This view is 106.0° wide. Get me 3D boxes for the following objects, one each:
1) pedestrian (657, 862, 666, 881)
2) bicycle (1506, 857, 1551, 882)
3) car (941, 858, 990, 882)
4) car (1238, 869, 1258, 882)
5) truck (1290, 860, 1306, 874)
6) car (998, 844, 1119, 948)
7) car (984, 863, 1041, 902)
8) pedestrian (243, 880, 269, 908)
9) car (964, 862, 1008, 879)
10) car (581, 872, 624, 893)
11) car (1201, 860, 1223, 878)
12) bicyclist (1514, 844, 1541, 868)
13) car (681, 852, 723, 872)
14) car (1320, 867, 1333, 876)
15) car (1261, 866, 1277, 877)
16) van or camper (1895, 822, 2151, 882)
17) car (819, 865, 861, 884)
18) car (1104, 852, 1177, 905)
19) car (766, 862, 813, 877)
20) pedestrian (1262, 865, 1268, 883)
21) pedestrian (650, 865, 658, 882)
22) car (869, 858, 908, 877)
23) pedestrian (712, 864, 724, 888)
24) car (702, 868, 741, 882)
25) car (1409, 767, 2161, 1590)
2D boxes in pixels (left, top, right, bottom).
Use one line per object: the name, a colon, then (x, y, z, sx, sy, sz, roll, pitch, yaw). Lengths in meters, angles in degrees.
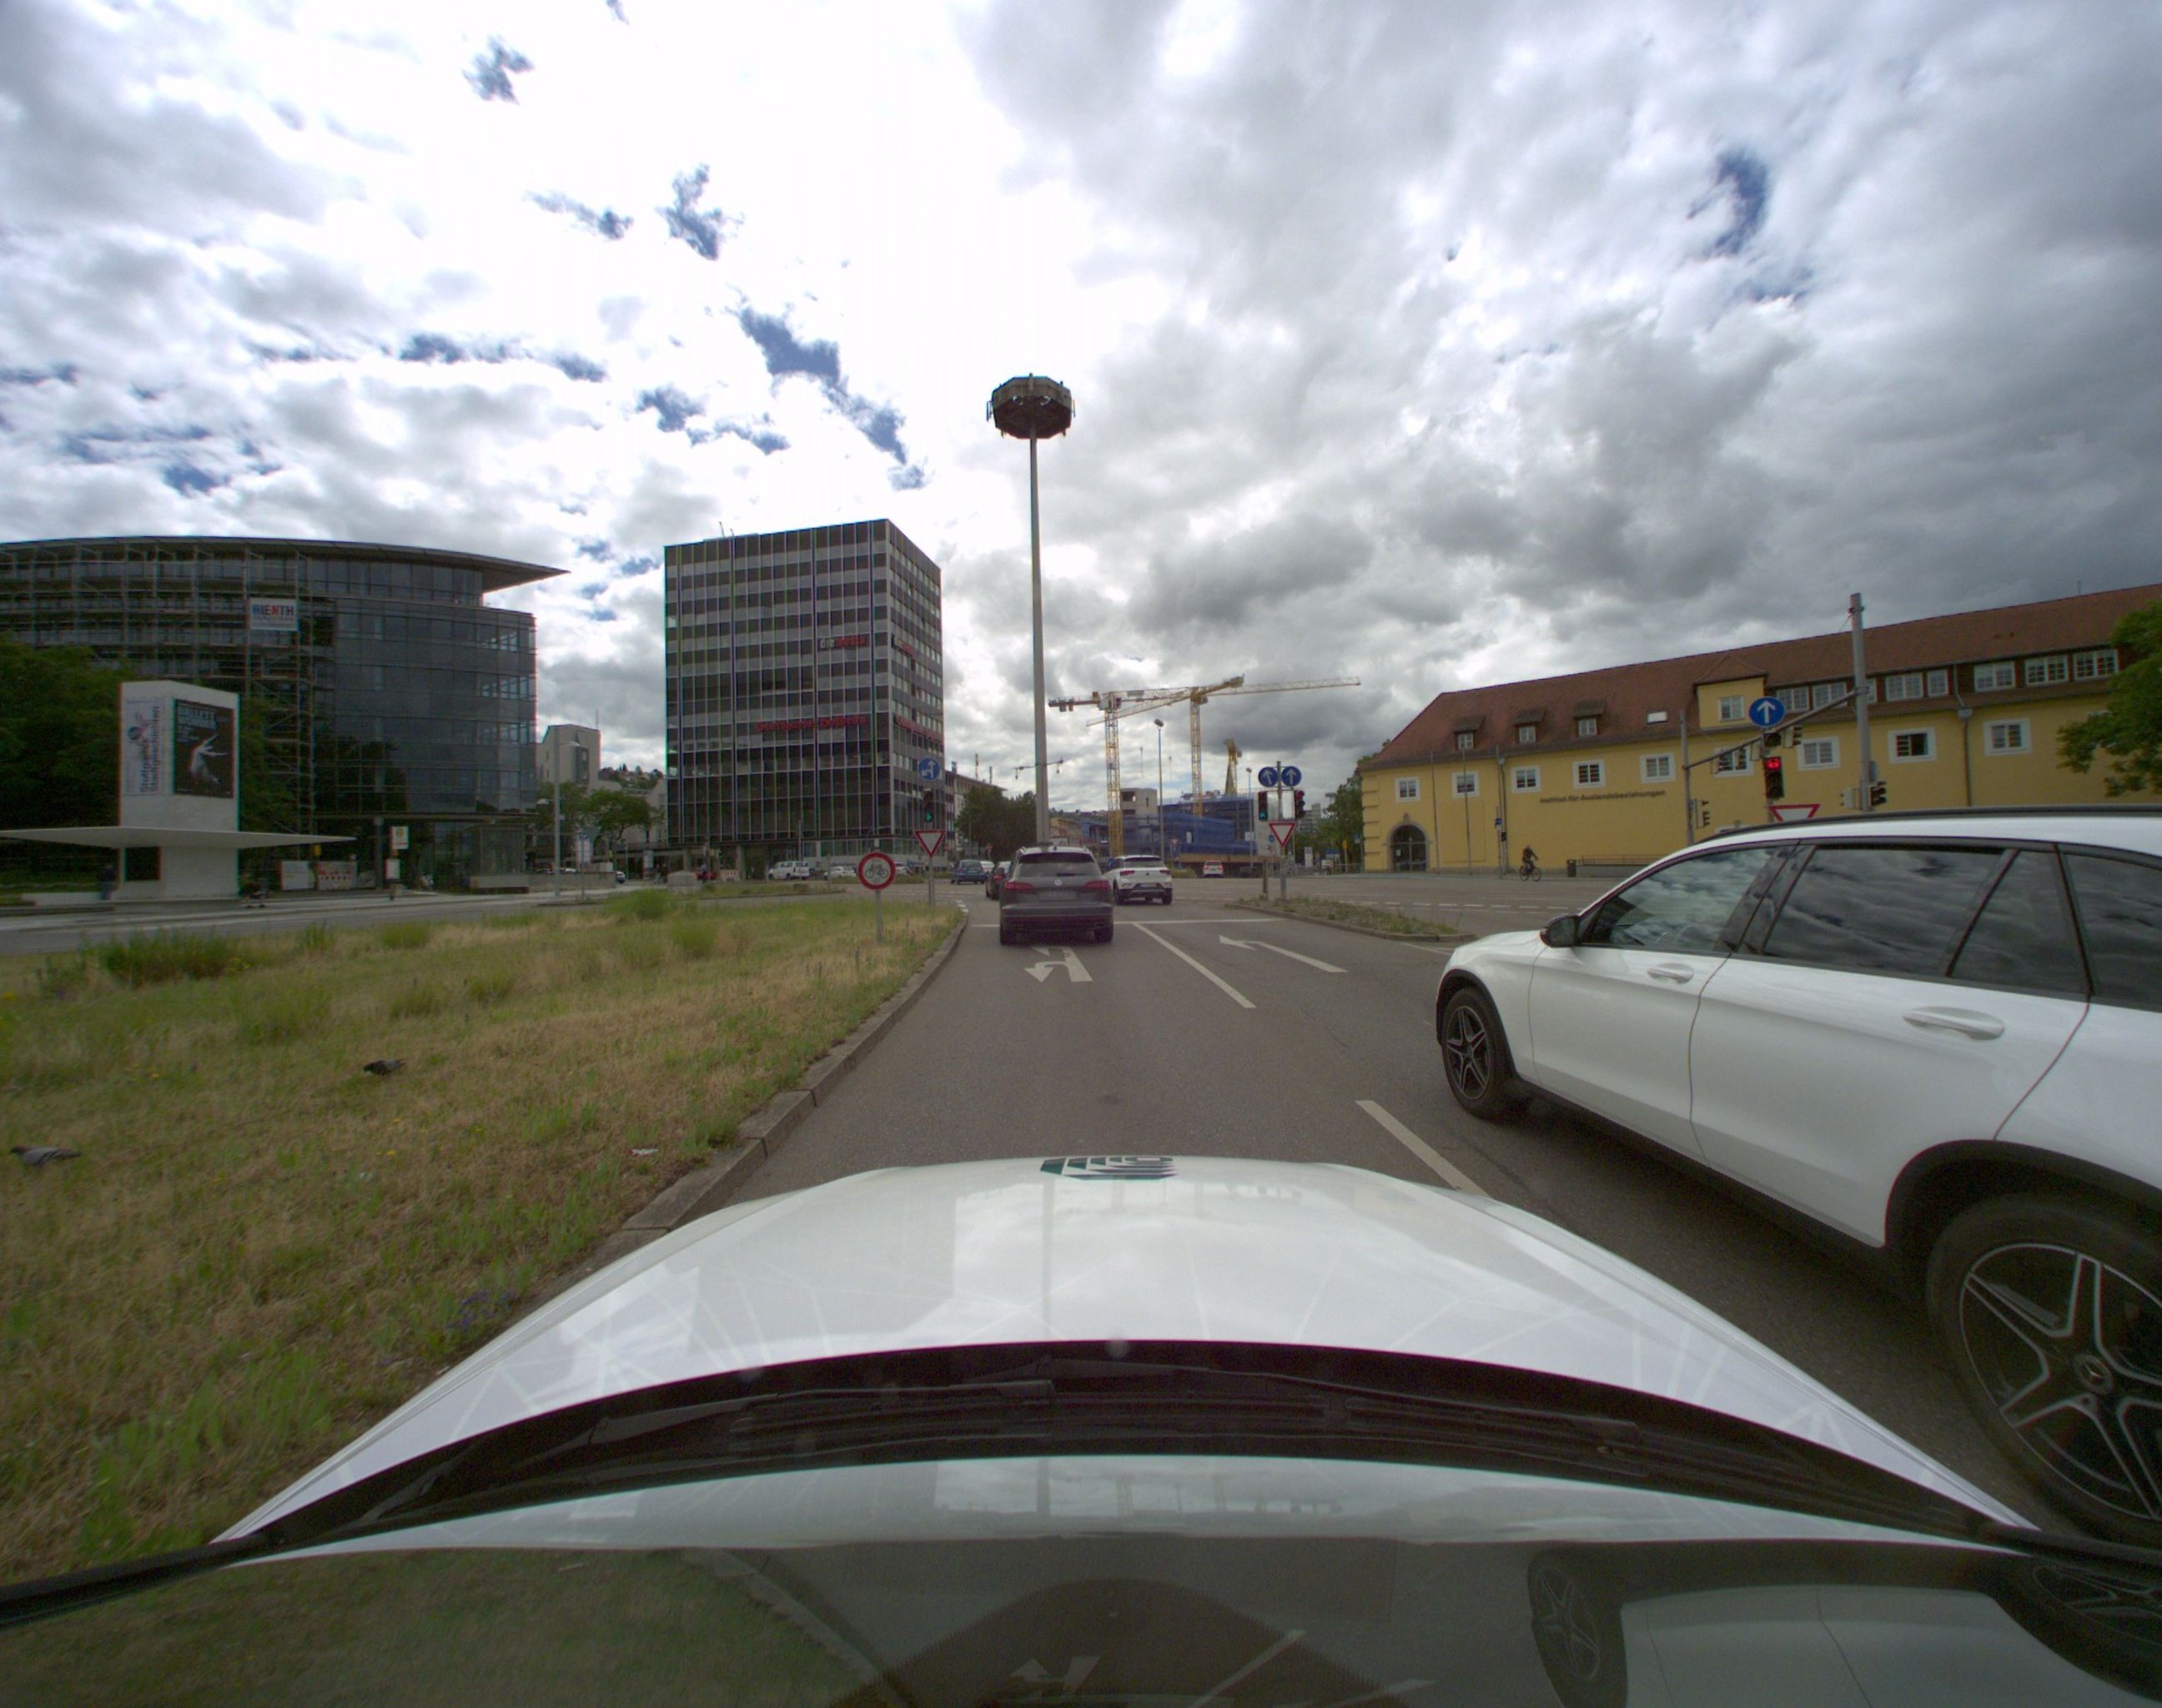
pedestrian: (-36.225, 1.526, 70.393, 0.626, 1.593, 0.585, 0, -1, -34)
bicycle: (21.776, 0.745, 39.695, 0.919, 1.159, 2.466, 0, 0, 2)
car: (-7.044, 0.968, 49.264, 1.802, 1.356, 4.035, -1, 0, -26)
car: (20.074, 2.569, 97.941, 1.788, 1.502, 4.000, -1, 0, 19)
truck: (39.762, 2.316, 149.113, 2.109, 2.453, 4.853, -1, 0, 22)
car: (-0.492, 0.663, 15.117, 1.929, 1.647, 3.994, -1, 0, -4)
car: (-2.697, 1.031, 31.291, 1.793, 1.356, 4.056, -1, 0, -10)
pedestrian: (-32.303, 1.570, 31.889, 0.472, 1.081, 0.561, 0, 0, 8)
car: (-7.064, 1.198, 60.274, 1.681, 1.139, 4.030, -1, 0, -31)
car: (-43.104, 2.561, 73.321, 3.414, 1.794, 1.813, -1, -1, 28)
car: (12.096, 1.356, 74.934, 1.791, 1.502, 3.994, -1, 0, 12)
bicyclist: (21.773, 0.100, 39.705, 0.919, 1.159, 0.726, 0, 0, 2)
car: (-40.173, 0.855, 86.330, 3.949, 2.013, 2.012, -1, 0, 29)
car: (58.554, 4.210, 194.414, 1.985, 2.013, 4.003, -1, 0, 3)
car: (27.560, 2.563, 119.392, 1.788, 1.502, 4.000, -1, 0, 19)
van or camper: (34.417, -0.036, 30.124, 5.948, 2.014, 2.032, -1, -1, 42)
car: (-24.646, 2.057, 83.146, 3.949, 1.610, 1.913, 1, 6, 34)
car: (1.856, 0.731, 26.583, 1.889, 1.585, 3.796, -1, 0, -3)
car: (-29.659, 1.554, 82.873, 4.551, 1.502, 2.266, -1, 0, 36)
pedestrian: (16.389, 1.757, 72.596, 0.493, 1.574, 0.402, -1, -1, 22)
pedestrian: (-36.857, 1.695, 70.269, 0.540, 1.396, 0.648, 0, -1, -33)
car: (-16.315, 1.122, 68.962, 1.829, 1.496, 3.862, -1, 0, -38)
pedestrian: (-36.587, 2.212, 82.115, 0.965, 2.361, 1.030, -1, 0, -33)
car: (-38.899, 2.285, 88.164, 3.930, 1.502, 1.735, -1, 0, 28)
car: (3.067, 0.627, 3.179, 1.813, 1.647, 4.379, -1, 0, 0)
